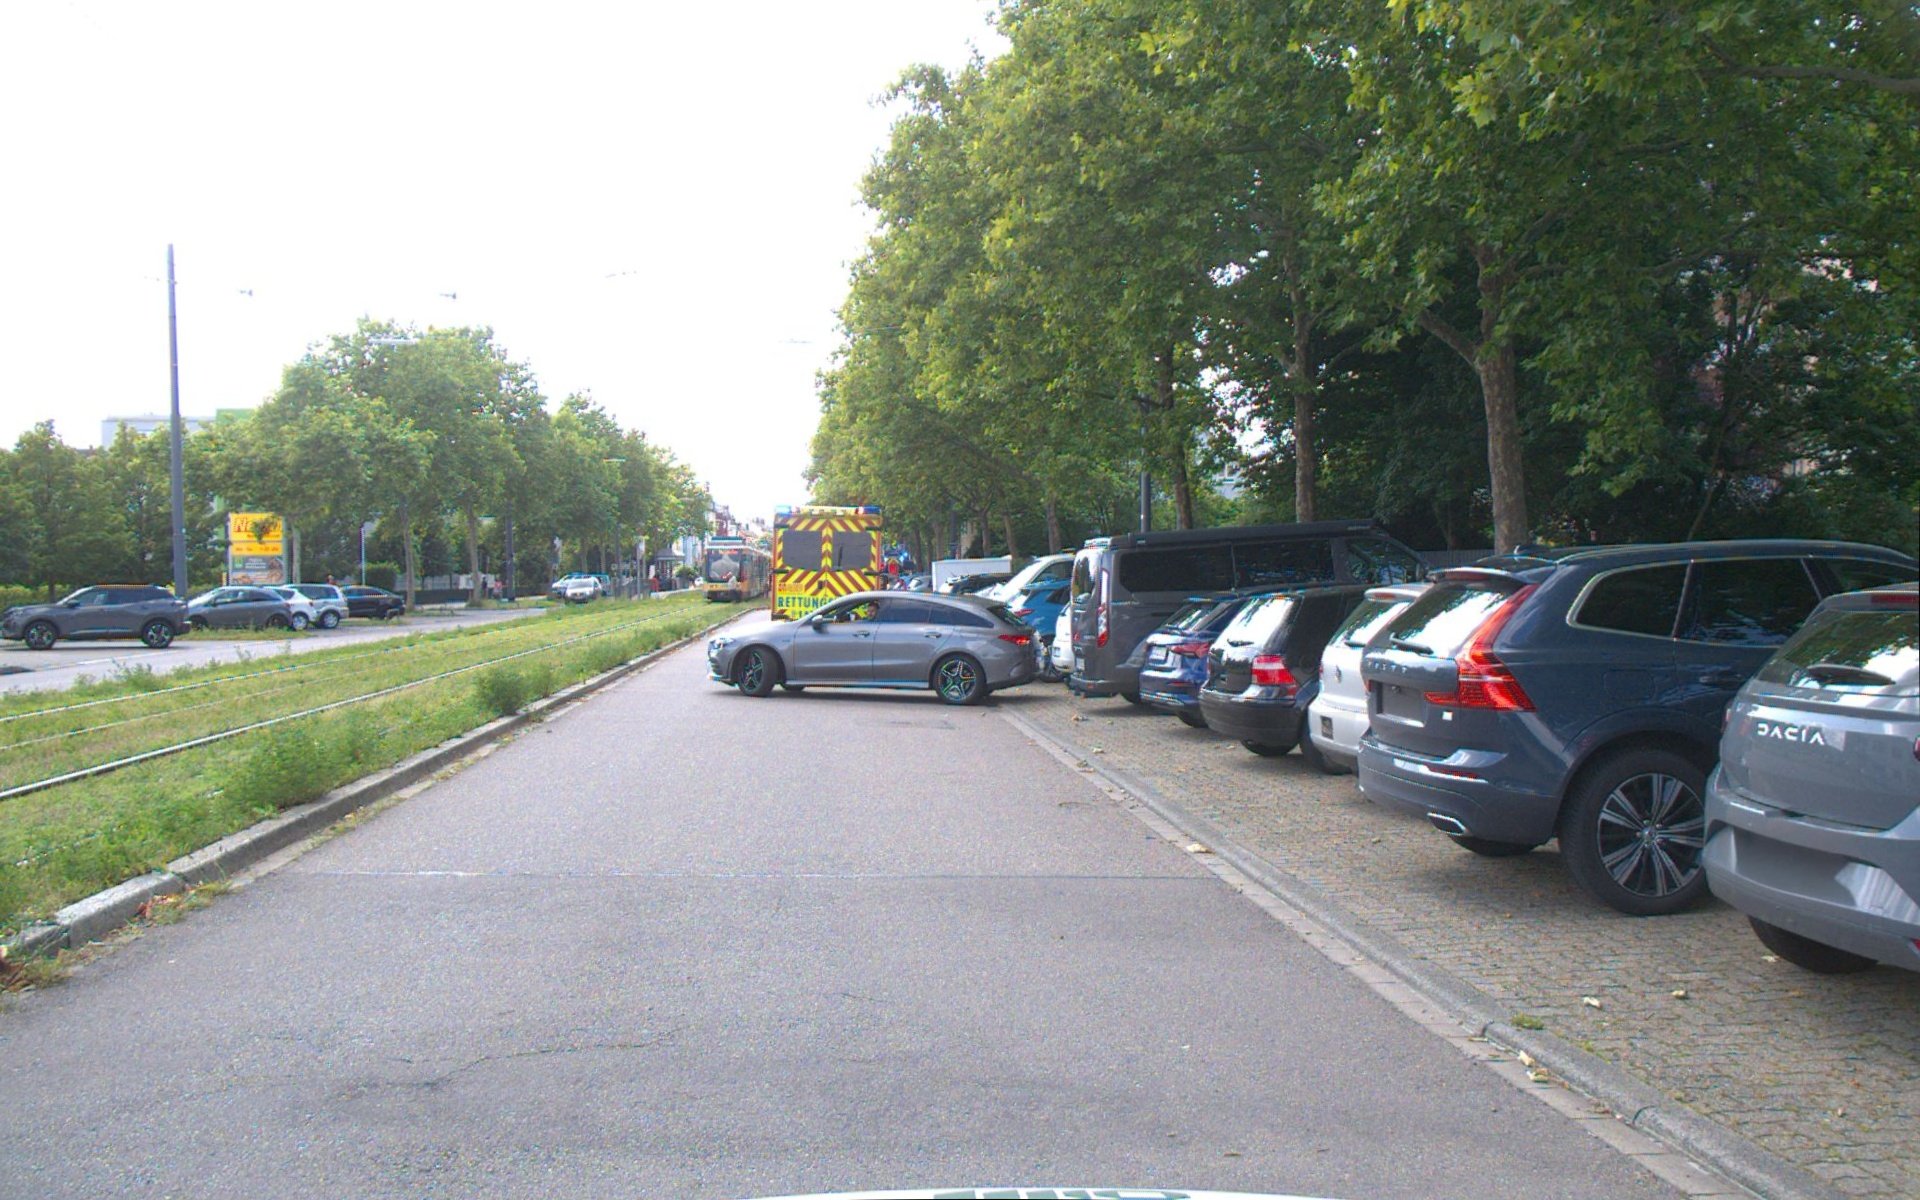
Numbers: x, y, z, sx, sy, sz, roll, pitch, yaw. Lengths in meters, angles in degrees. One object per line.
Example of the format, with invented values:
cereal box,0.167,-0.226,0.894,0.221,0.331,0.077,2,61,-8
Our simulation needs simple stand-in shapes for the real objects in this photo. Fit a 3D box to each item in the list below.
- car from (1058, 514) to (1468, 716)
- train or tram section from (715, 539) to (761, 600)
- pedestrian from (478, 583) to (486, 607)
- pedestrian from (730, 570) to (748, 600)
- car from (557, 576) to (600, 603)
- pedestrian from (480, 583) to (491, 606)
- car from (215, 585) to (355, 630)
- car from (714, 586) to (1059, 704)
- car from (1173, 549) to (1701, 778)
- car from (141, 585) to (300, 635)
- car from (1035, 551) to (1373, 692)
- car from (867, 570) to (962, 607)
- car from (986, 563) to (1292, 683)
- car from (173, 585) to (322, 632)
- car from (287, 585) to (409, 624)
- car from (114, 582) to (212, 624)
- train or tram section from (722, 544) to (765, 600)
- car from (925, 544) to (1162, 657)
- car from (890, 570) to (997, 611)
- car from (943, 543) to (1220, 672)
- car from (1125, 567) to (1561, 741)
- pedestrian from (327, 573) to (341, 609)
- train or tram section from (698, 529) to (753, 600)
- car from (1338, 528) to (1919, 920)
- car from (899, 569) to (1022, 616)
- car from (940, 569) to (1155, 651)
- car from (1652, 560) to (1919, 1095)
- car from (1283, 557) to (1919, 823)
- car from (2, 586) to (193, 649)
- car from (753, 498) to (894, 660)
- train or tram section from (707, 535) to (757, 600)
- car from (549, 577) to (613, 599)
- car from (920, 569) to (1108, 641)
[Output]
car,3.539,0.151,19.780,4.458,2.160,1.854,-2,1,-6
train or tram section,-14.112,-1.857,105.469,2.463,3.646,7.437,-2,0,-5
pedestrian,-29.944,-0.322,103.540,0.413,1.499,0.466,-1,1,-10
pedestrian,-11.520,-0.758,86.310,0.863,1.552,0.750,1,0,-6
car,-23.170,-0.659,100.599,1.955,1.585,4.365,-2,1,-6
pedestrian,-30.222,-0.350,105.363,0.412,1.439,0.467,-1,1,20
car,-23.439,0.229,57.507,4.197,1.508,1.855,0,0,-41
car,-0.928,0.562,22.306,4.358,1.409,1.768,1,0,9
car,3.936,0.454,13.832,3.901,1.633,1.749,-2,1,-16
car,-23.027,0.299,51.577,4.197,1.508,1.855,0,0,-41
car,3.431,0.273,23.725,4.458,1.797,1.854,-2,1,-6
car,-2.258,-0.563,81.328,4.461,1.636,1.852,-2,1,-9
car,2.786,0.324,26.209,4.462,1.689,1.852,-2,1,-10
car,-23.430,0.264,54.468,4.197,1.508,1.855,0,0,-41
car,-24.270,0.171,65.663,4.204,1.508,1.852,0,0,-45
car,-35.683,0.120,74.048,3.909,1.780,1.998,2,1,27
train or tram section,-14.753,-1.846,112.877,2.463,3.646,7.437,-2,0,-5
car,1.636,-0.013,33.257,4.461,2.079,1.852,-2,1,-9
car,-0.752,-0.426,73.202,4.461,1.636,1.852,-2,1,-9
car,2.060,0.105,28.687,4.461,2.035,1.852,-2,1,-9
car,3.759,0.499,16.605,3.889,1.520,1.754,-2,0,-6
pedestrian,-29.916,-0.424,79.027,0.457,1.706,0.602,-1,1,-7
train or tram section,-12.808,-1.879,90.663,2.463,3.646,7.437,-2,0,-5
car,4.269,0.499,8.277,4.294,1.668,1.755,-2,1,-3
car,-0.003,-0.312,63.389,4.461,1.636,1.852,-2,1,-9
car,1.903,0.190,36.764,4.461,1.636,1.852,-2,1,-9
car,4.864,0.591,5.614,4.294,1.527,1.755,-2,1,-3
car,4.340,0.529,11.160,3.889,1.520,1.754,-2,1,-6
car,-21.625,0.418,41.555,4.176,1.508,1.865,0,0,-30
car,-2.798,-0.424,34.897,2.589,3.018,6.295,2,0,-3
train or tram section,-13.464,-1.868,98.059,2.463,3.646,7.437,-2,0,-5
car,-29.740,-0.943,129.900,4.593,1.661,1.853,-2,1,-44
car,1.335,0.106,41.886,4.461,1.636,1.852,-2,1,-9
